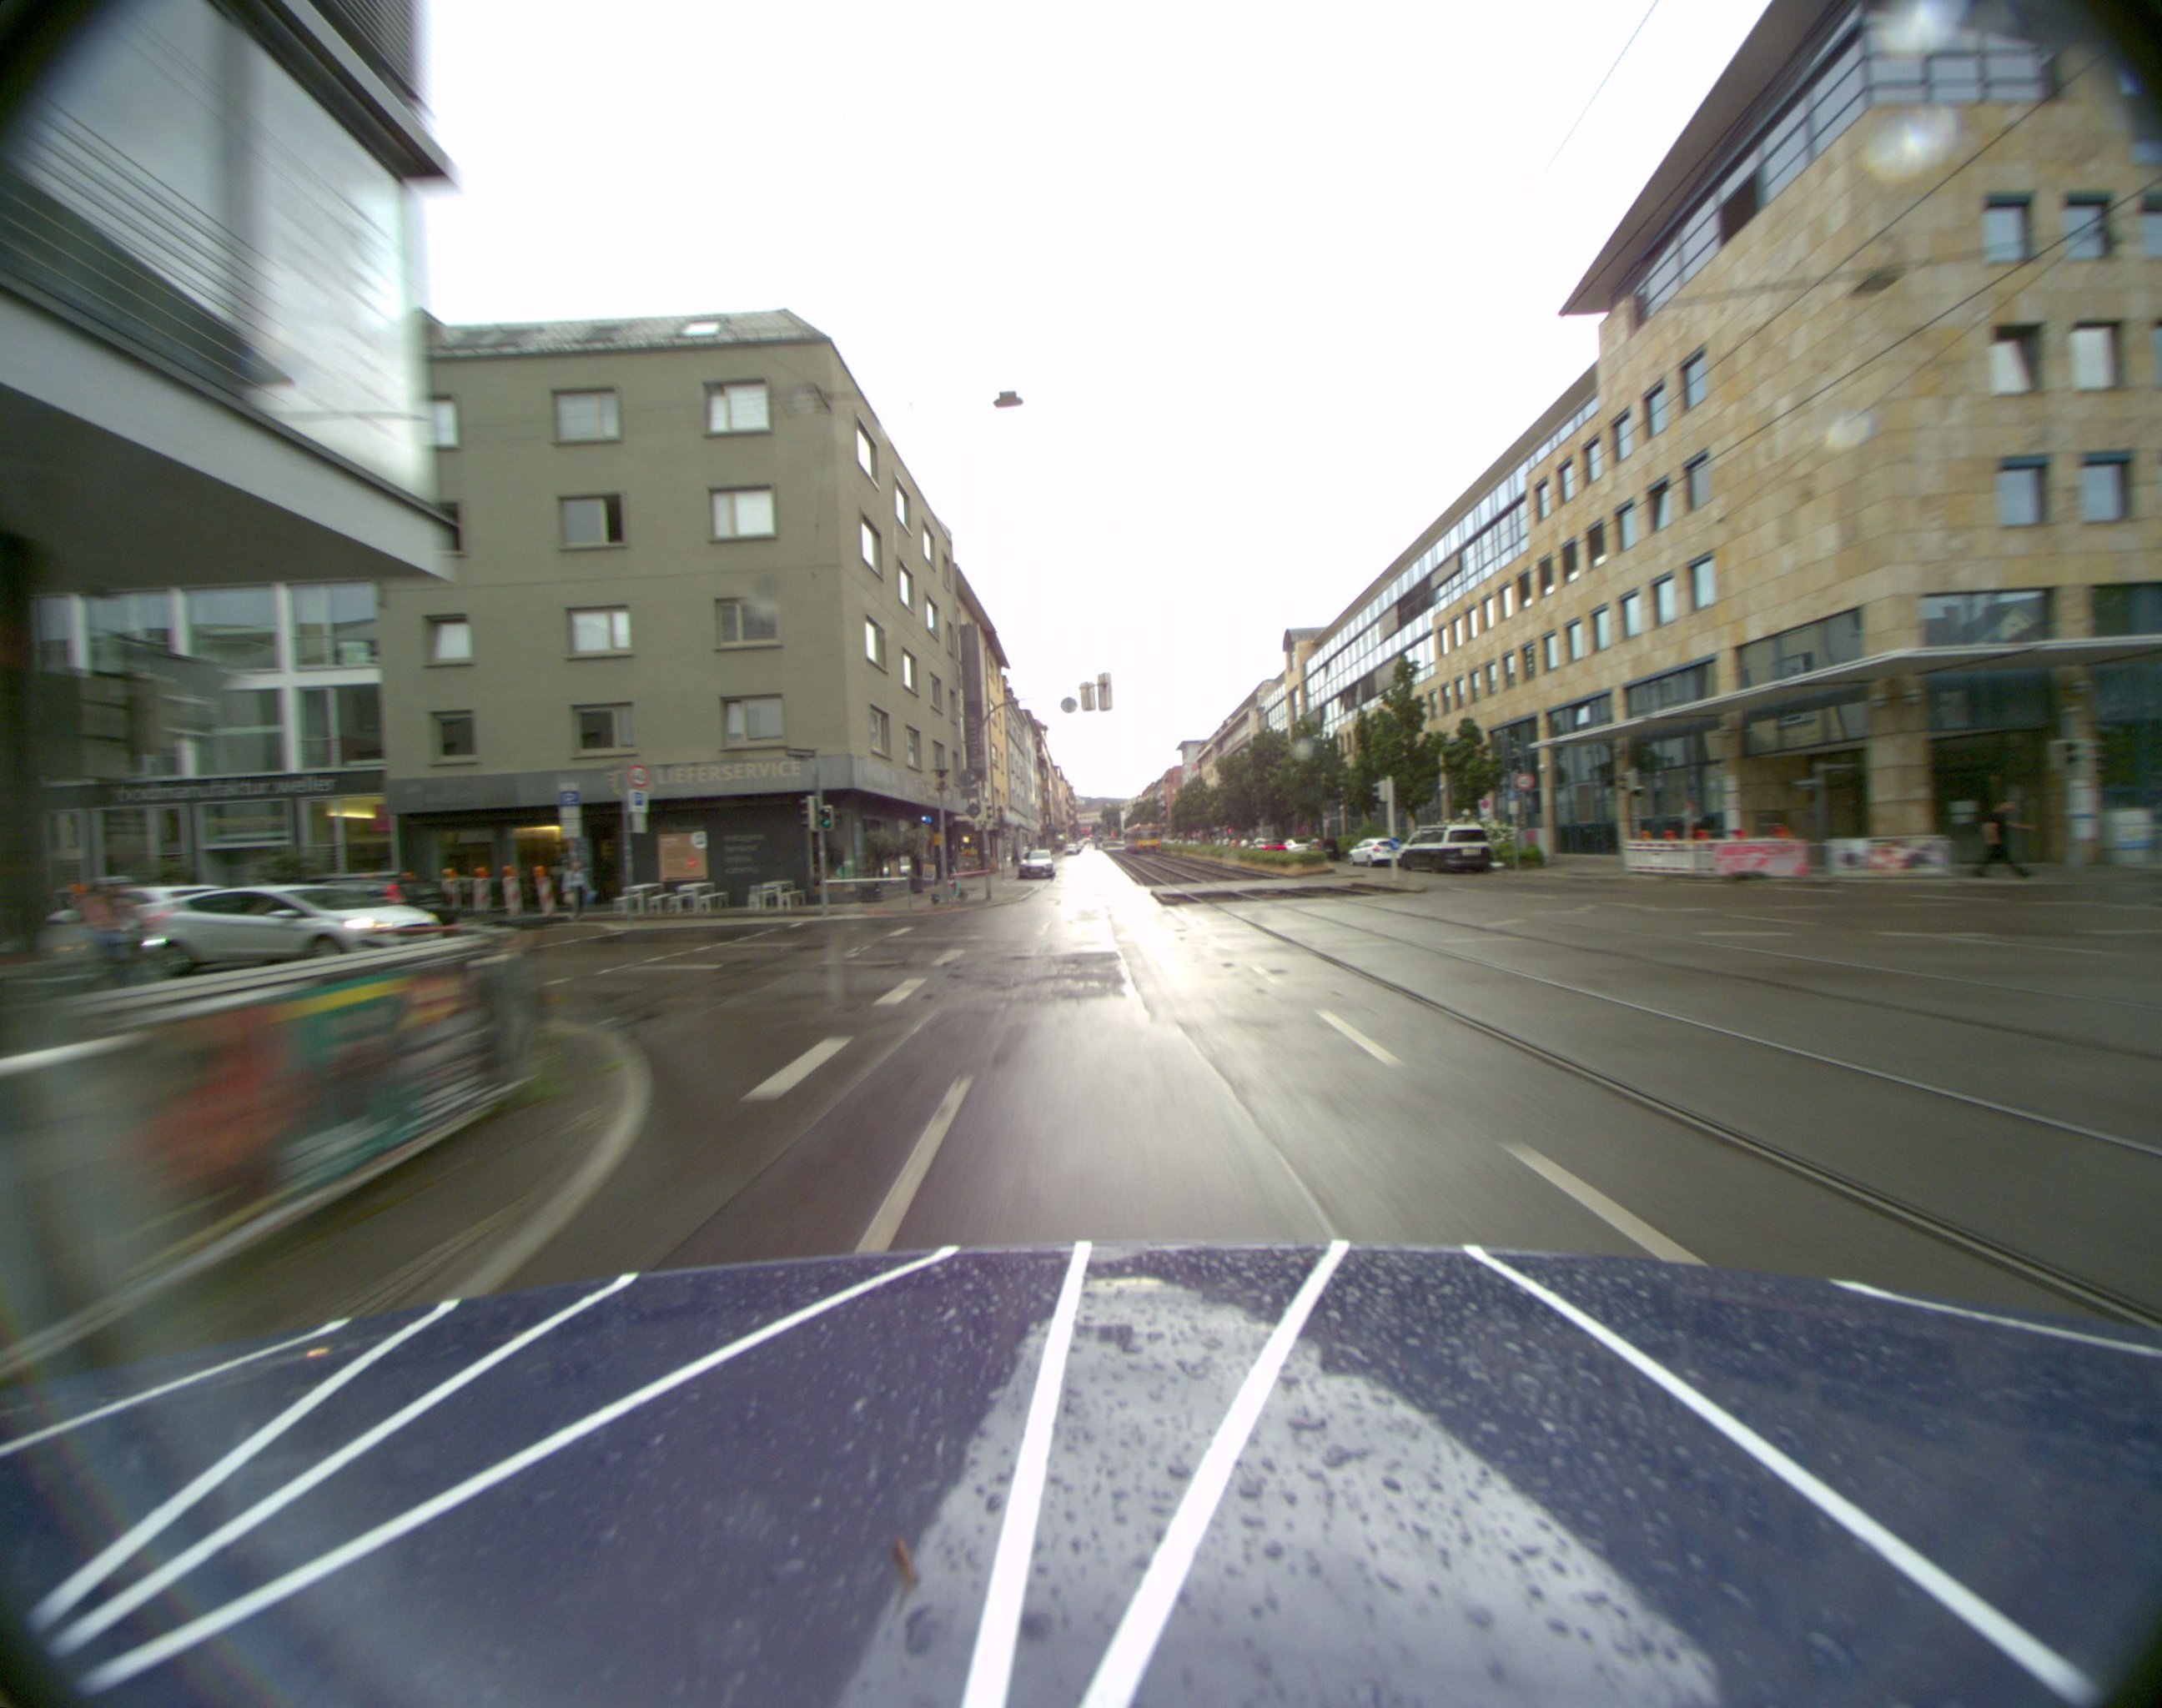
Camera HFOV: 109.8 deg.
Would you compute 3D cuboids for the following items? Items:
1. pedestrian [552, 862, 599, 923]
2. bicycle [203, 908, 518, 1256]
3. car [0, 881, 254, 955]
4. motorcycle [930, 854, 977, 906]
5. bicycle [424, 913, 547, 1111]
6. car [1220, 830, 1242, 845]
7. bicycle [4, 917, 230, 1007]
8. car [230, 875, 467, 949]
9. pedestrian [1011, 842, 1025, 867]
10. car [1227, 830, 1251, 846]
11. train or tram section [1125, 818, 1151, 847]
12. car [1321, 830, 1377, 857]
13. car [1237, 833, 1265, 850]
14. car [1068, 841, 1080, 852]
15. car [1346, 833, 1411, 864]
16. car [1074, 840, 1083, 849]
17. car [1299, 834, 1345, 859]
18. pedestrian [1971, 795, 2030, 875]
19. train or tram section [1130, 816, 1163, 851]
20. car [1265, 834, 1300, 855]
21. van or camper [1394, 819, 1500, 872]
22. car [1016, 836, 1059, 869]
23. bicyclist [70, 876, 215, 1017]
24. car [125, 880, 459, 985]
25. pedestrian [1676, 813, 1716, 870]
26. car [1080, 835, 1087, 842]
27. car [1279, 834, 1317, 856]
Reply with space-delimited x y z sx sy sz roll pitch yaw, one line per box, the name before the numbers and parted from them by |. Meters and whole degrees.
pedestrian | -13.948 1.047 20.973 0.549 1.601 0.861 -2 4 5
bicycle | -3.637 0.992 4.054 0.499 1.252 1.952 -4 2 -23
car | -23.413 1.540 18.771 3.976 1.478 1.722 -2 1 0
motorcycle | -3.766 0.745 22.467 1.134 1.453 0.682 -3 2 -35
bicycle | -4.569 1.109 5.928 0.579 1.151 1.951 -4 2 -35
car | 16.428 -1.856 83.415 1.653 1.532 4.621 -2 1 2
bicycle | -12.773 1.414 10.115 1.930 1.005 0.755 -2 2 -1
car | -17.648 1.372 18.458 3.976 1.478 1.722 -2 1 0
pedestrian | -4.362 0.024 52.700 0.793 1.650 0.721 -4 2 1
car | 16.297 -1.700 78.559 1.653 1.532 4.621 -2 1 2
train or tram section | 8.711 -3.349 117.931 2.909 4.028 18.406 -2 2 1
car | 16.018 -0.607 45.654 1.693 1.477 4.295 -3 1 -1
car | 16.201 -1.213 72.629 1.653 1.532 4.621 -2 1 2
car | -0.992 -1.095 109.092 1.653 1.489 4.066 -2 1 2
car | 15.565 -0.304 40.000 1.693 1.477 4.255 -3 1 0
car | -0.445 -1.772 142.020 1.653 1.584 4.066 -2 1 2
car | 15.884 -0.477 50.179 1.693 1.477 3.999 -3 1 0
pedestrian | 20.984 -0.436 17.351 0.677 1.771 0.705 -2 1 36
train or tram section | 8.384 -2.765 99.306 2.909 4.028 18.762 -2 2 1
car | 16.017 -0.785 60.596 1.653 1.489 4.292 -2 1 2
van or camper | 15.398 -0.418 32.316 2.022 1.986 5.196 -3 2 1
car | -2.315 -0.125 41.668 2.029 1.585 4.619 -2 2 0
bicyclist | -12.444 1.194 10.105 0.842 1.736 0.756 -2 2 -1
car | -13.689 1.320 13.370 3.976 1.478 1.722 -2 1 0
pedestrian | 19.836 -0.398 24.522 0.703 1.804 0.679 -3 1 4
car | 0.643 -4.035 196.697 1.653 1.584 4.066 -2 1 2
car | 15.746 -0.699 55.264 1.653 1.489 4.192 -2 1 2
